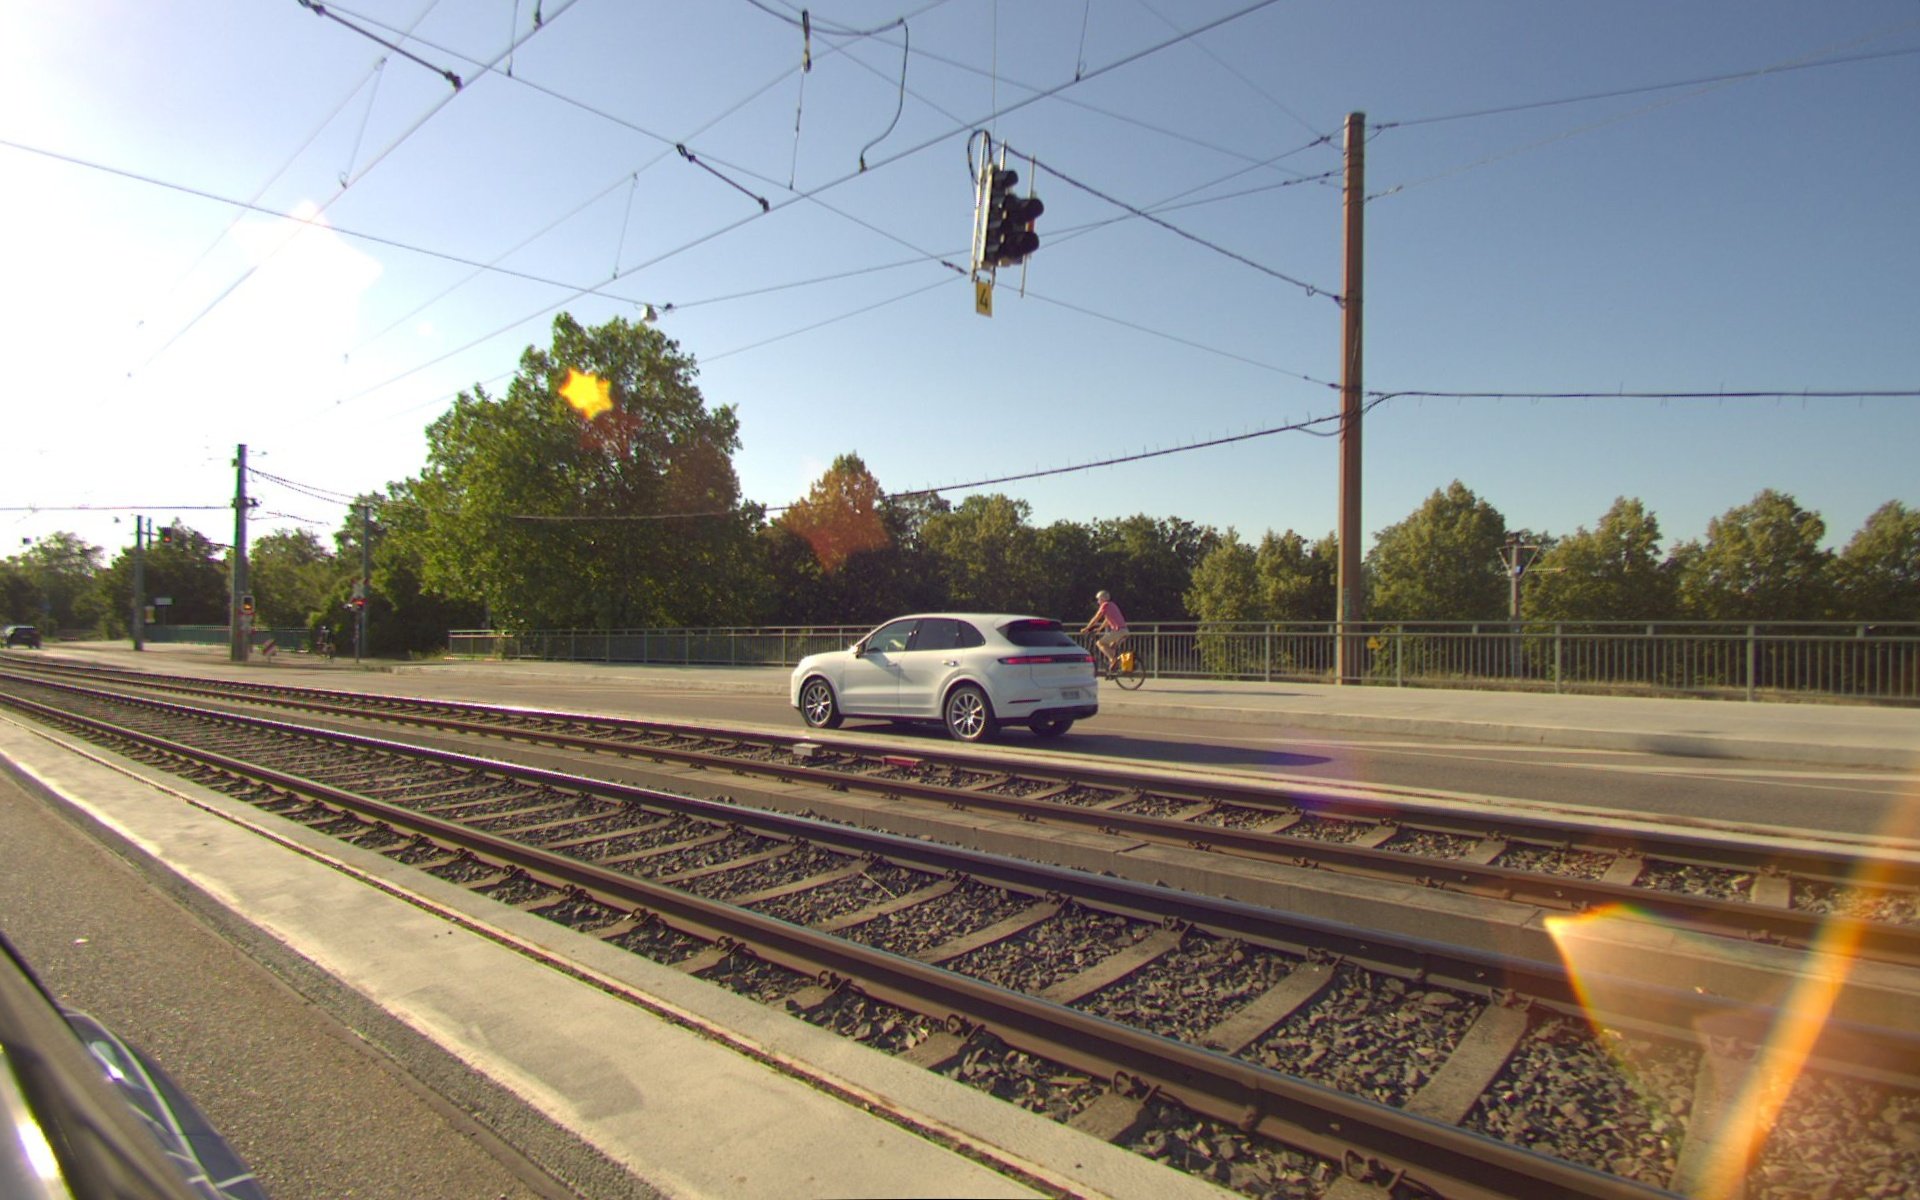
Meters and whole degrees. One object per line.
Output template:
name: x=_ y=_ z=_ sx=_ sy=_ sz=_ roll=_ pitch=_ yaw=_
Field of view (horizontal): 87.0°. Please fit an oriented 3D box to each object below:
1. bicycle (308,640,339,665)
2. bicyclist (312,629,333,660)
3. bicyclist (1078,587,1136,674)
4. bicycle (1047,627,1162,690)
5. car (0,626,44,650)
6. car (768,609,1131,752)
bicycle: x=-29.969 y=2.453 z=47.641 sx=2.259 sy=1.131 sz=0.618 roll=-1 pitch=-1 yaw=42
bicyclist: x=-30.084 y=2.078 z=47.742 sx=0.968 sy=1.443 sz=0.618 roll=-1 pitch=-1 yaw=41
bicyclist: x=2.871 y=0.577 z=19.737 sx=0.935 sy=1.645 sz=0.619 roll=-1 pitch=-1 yaw=40
bicycle: x=2.800 y=1.112 z=19.797 sx=2.258 sy=1.131 sz=0.619 roll=-1 pitch=-1 yaw=41
car: x=-64.968 y=2.599 z=70.026 sx=4.217 sy=1.513 sz=1.830 roll=-1 pitch=-1 yaw=41
car: x=-0.310 y=0.976 z=14.228 sx=5.087 sy=1.649 sz=1.980 roll=-1 pitch=-1 yaw=41
